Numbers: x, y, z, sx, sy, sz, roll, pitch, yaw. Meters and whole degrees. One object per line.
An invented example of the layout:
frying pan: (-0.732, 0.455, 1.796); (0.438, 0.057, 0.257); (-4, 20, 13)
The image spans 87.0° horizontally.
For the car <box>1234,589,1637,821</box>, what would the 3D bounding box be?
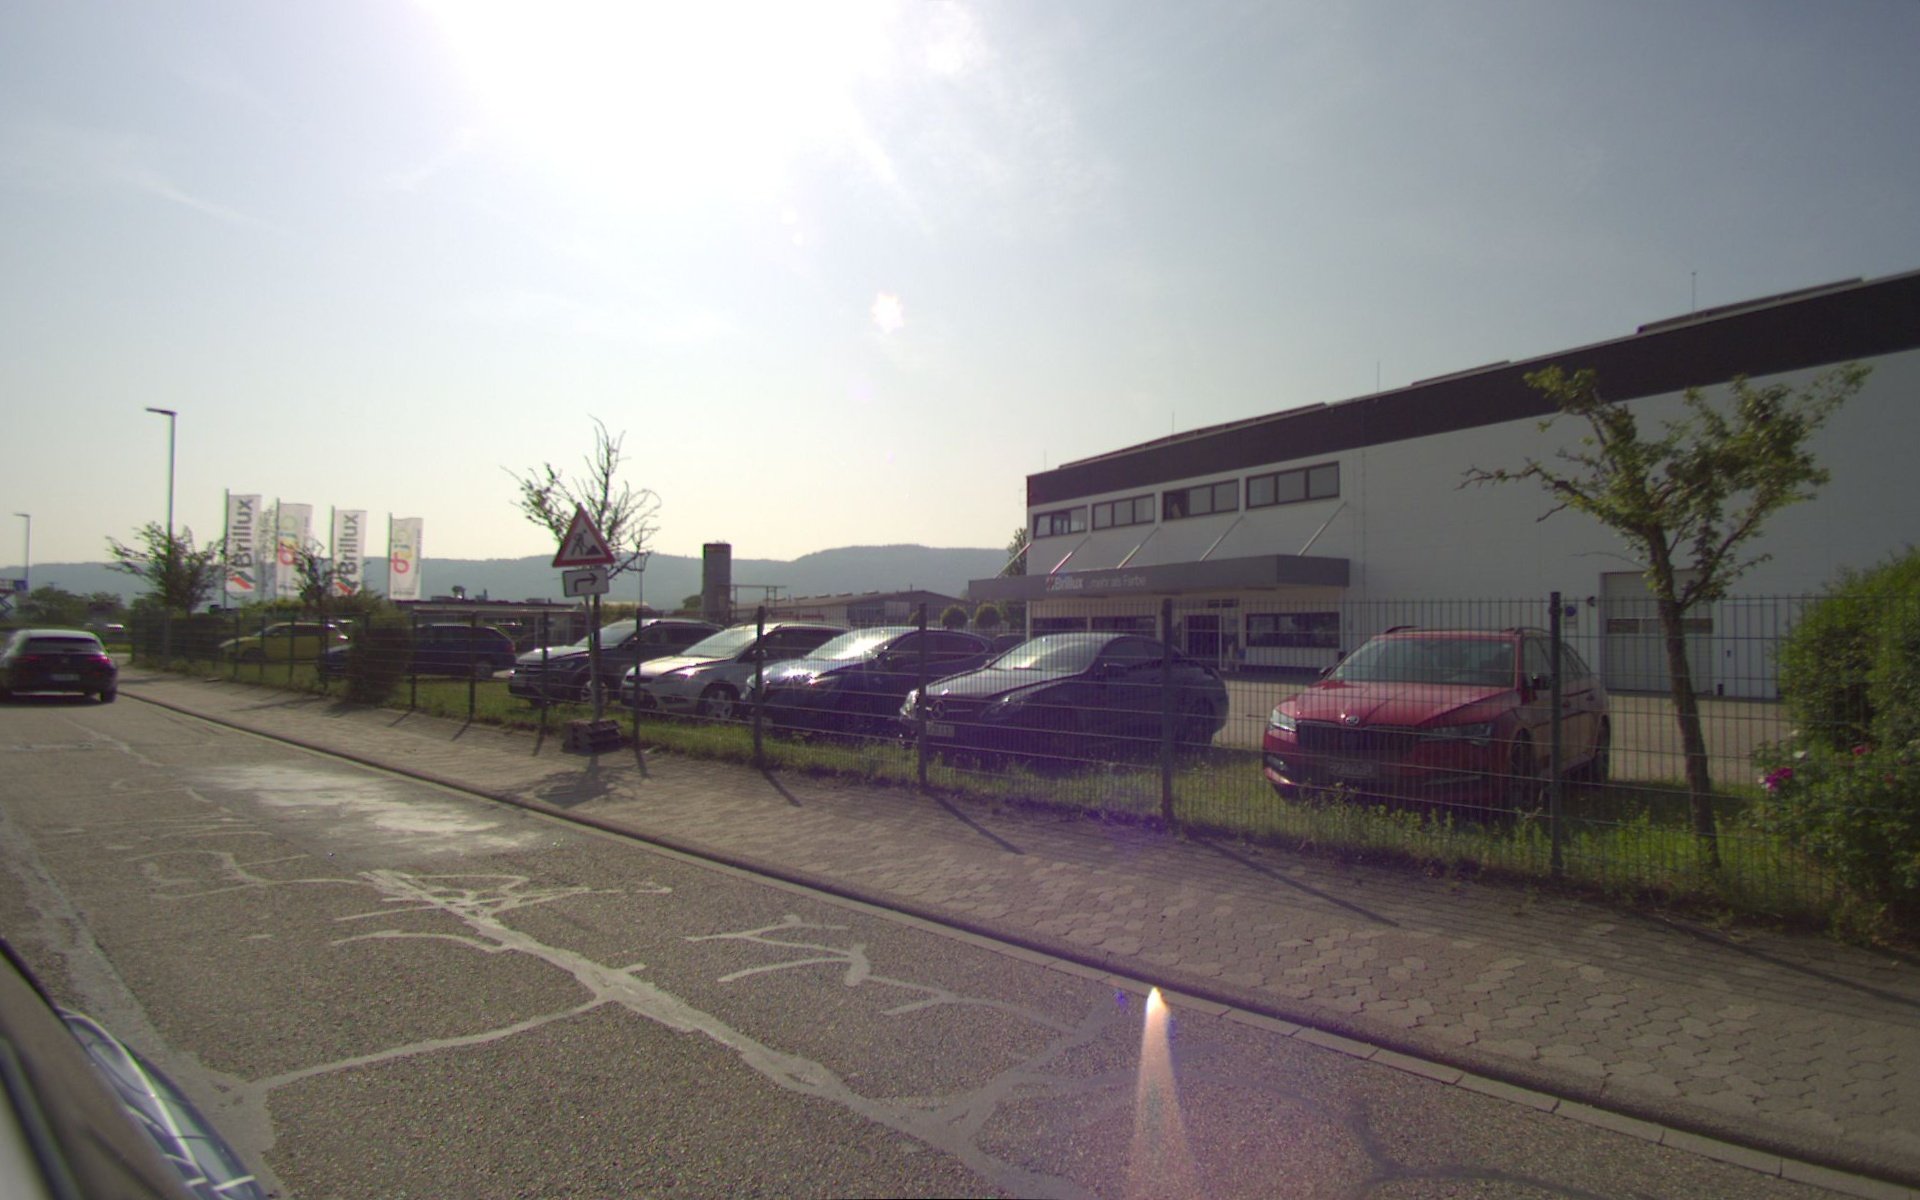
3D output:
car: (4.293, 0.807, 8.708); (1.952, 1.455, 4.488); (-1, -4, 42)

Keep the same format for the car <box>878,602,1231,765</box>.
car: (1.199, 0.877, 11.157); (1.873, 1.455, 3.997); (-1, -4, 42)

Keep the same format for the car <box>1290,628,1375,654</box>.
car: (25.165, 2.762, 68.411); (5.061, 1.715, 1.972); (-1, -4, 42)

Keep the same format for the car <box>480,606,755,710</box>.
car: (-5.781, 1.009, 17.459); (1.864, 1.579, 4.083); (-1, -4, 42)

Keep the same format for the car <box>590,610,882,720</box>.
car: (-3.290, 0.988, 15.475); (1.873, 1.455, 3.997); (-1, -4, 42)

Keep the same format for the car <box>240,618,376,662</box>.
car: (-26.559, 1.603, 41.288); (4.457, 1.708, 1.954); (0, 0, 7)

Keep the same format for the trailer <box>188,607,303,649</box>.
trailer: (-48.893, 1.961, 69.512); (6.221, 2.625, 2.862); (3, -4, -34)

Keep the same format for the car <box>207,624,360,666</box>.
car: (-23.565, 1.562, 35.356); (1.868, 1.379, 4.118); (-1, -3, 43)

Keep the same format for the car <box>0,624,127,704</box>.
car: (-18.802, 1.272, 20.684); (4.417, 1.460, 1.973); (-1, -5, 41)

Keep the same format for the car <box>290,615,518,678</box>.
car: (-14.039, 1.228, 25.788); (2.077, 1.455, 4.636); (-1, -4, 42)

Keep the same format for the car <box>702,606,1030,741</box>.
car: (-1.069, 0.930, 13.073); (1.873, 1.455, 3.997); (-1, -4, 42)

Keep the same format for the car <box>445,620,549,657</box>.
car: (-23.124, 1.937, 50.585); (4.584, 1.765, 2.159); (2, -2, -26)
